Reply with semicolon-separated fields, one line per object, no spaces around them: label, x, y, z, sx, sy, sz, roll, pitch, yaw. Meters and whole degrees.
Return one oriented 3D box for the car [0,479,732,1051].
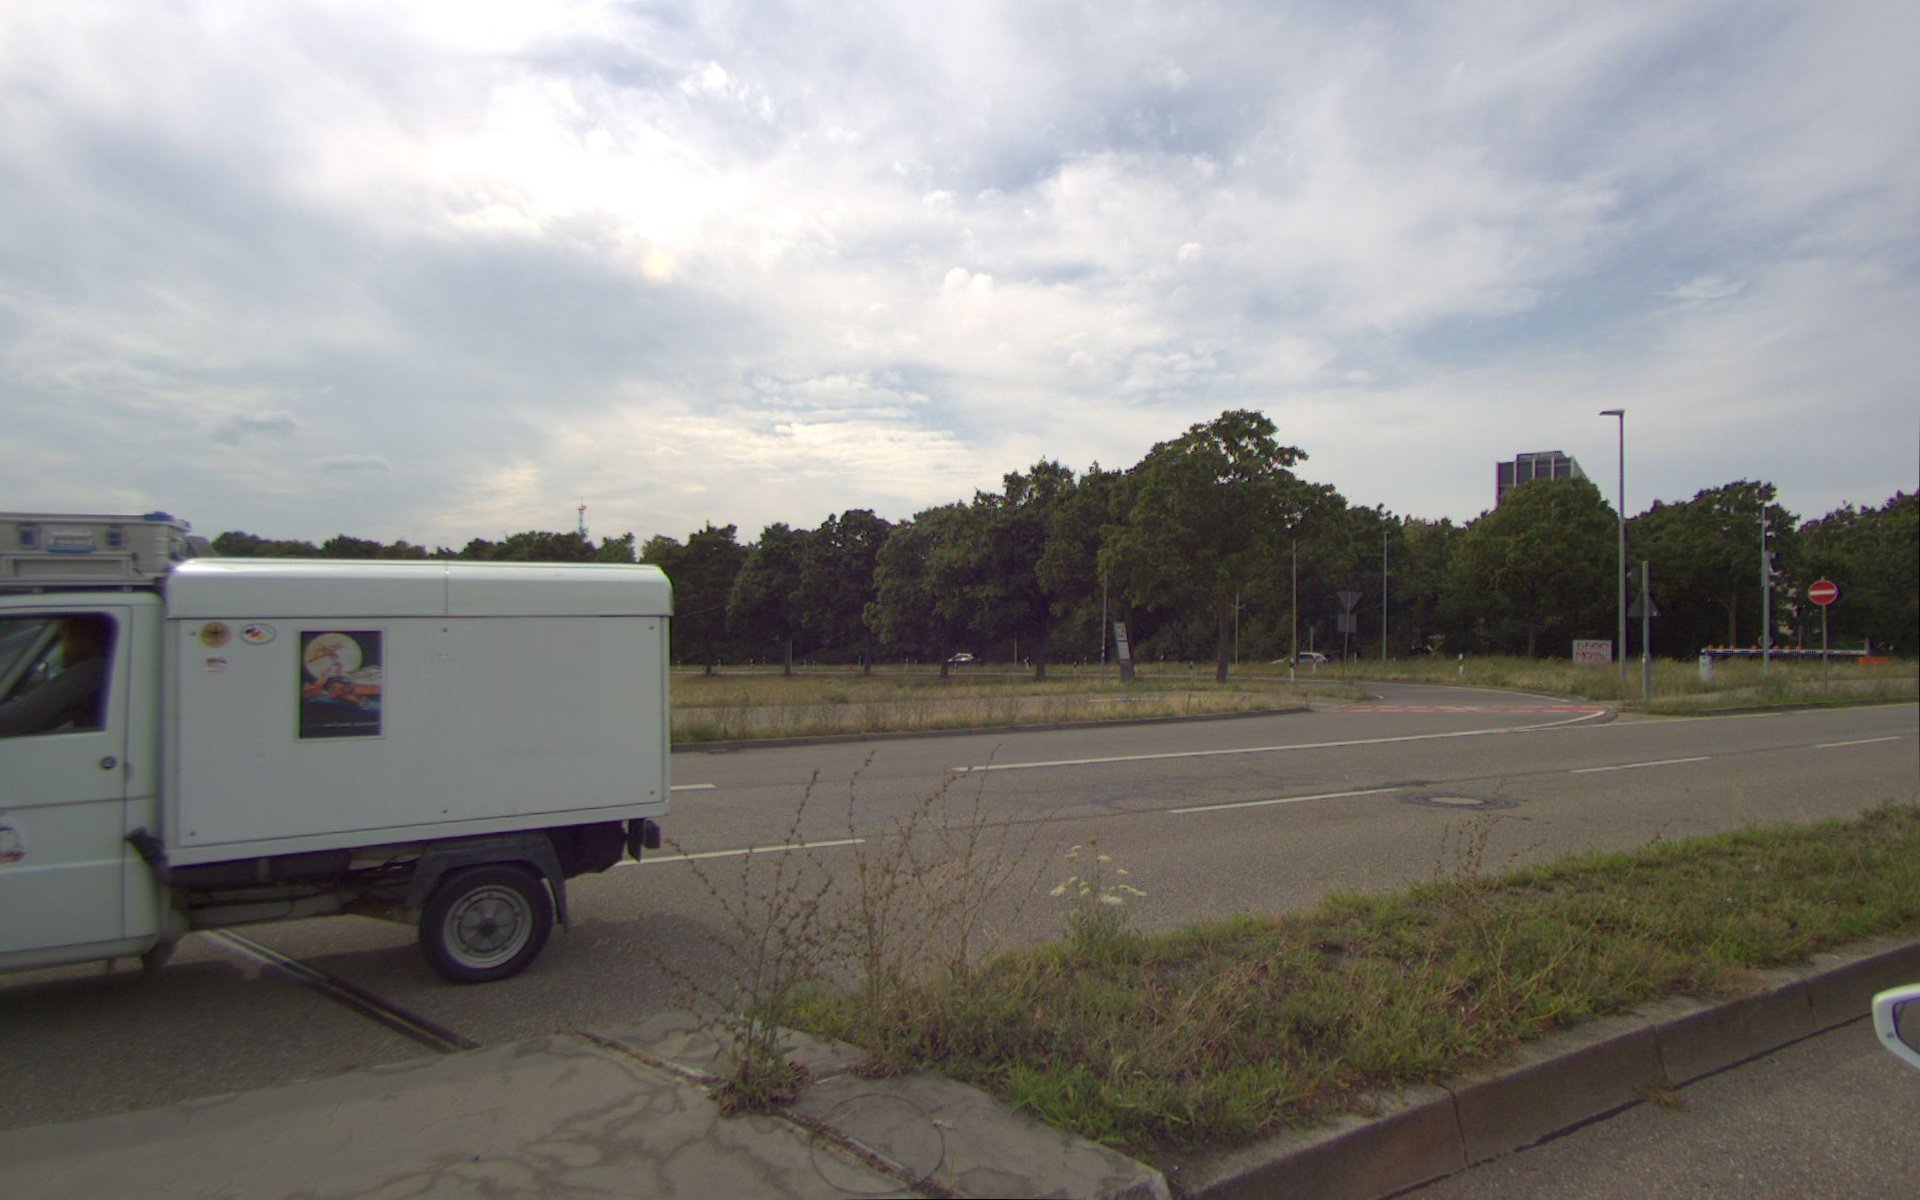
car;-2.921;0.586;4.349;3.525;1.895;1.534;1;-3;-28

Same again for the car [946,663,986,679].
car;0.547;6.859;97.562;3.823;1.414;1.566;-2;-3;42

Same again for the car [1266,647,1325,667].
car;24.395;4.130;73.132;3.824;1.414;1.566;-2;-3;43

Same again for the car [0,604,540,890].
car;-5.316;0.874;6.698;4.528;1.606;1.741;1;-3;-28
